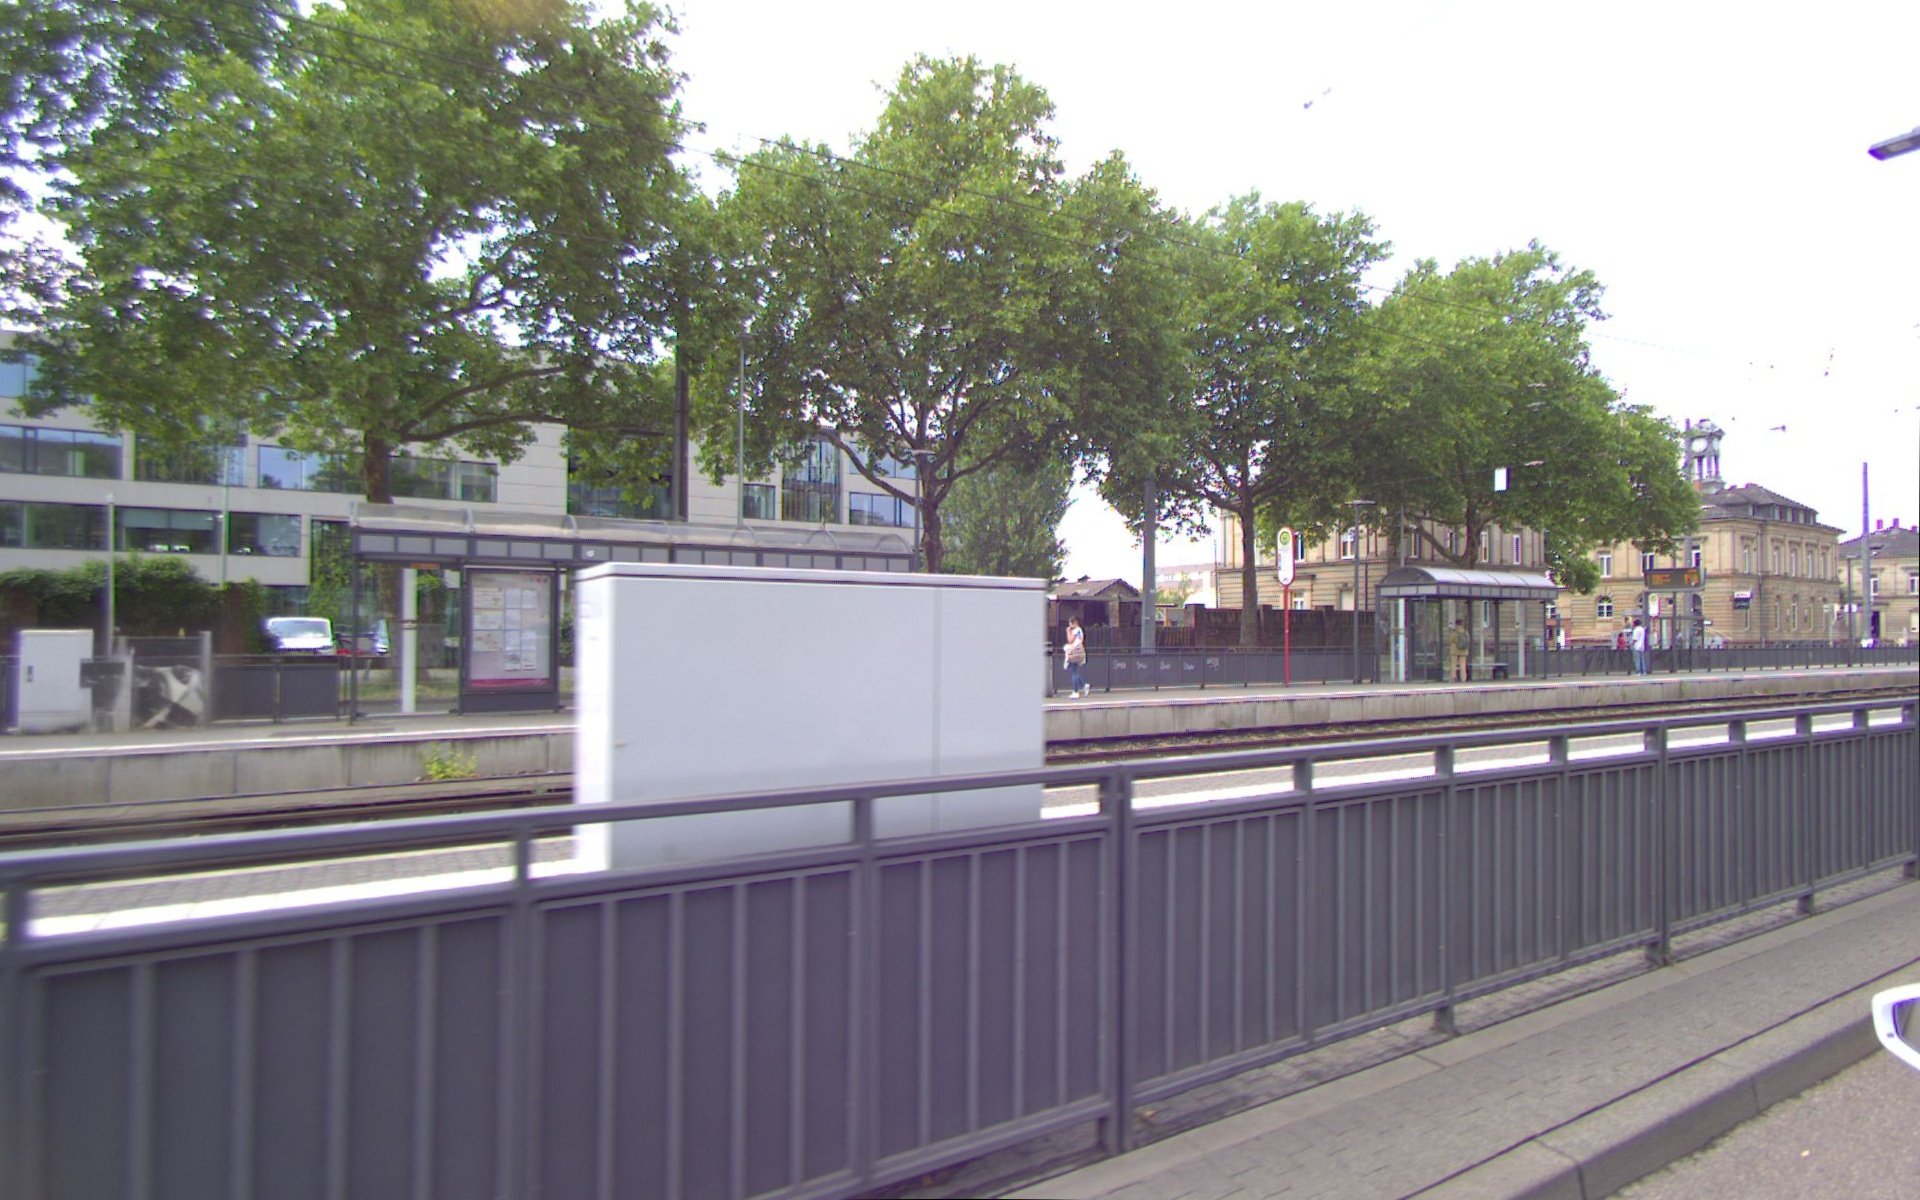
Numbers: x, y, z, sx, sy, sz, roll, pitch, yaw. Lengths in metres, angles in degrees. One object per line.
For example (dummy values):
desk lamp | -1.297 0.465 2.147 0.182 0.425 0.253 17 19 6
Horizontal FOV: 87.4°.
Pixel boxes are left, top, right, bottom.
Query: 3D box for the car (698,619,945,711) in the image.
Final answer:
car | -2.849 1.304 21.068 4.766 1.727 1.983 2 -2 -31

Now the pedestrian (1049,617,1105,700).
pedestrian | 2.236 1.106 19.169 0.795 1.532 0.697 1 -2 -34

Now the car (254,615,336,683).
car | -21.404 1.601 32.501 1.914 2.014 4.803 1 -4 -30

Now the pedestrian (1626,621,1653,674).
pedestrian | 22.212 1.537 32.827 0.635 1.705 0.498 1 -2 -31

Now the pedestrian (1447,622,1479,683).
pedestrian | 13.251 1.376 26.458 0.635 1.579 0.498 1 -2 -31
